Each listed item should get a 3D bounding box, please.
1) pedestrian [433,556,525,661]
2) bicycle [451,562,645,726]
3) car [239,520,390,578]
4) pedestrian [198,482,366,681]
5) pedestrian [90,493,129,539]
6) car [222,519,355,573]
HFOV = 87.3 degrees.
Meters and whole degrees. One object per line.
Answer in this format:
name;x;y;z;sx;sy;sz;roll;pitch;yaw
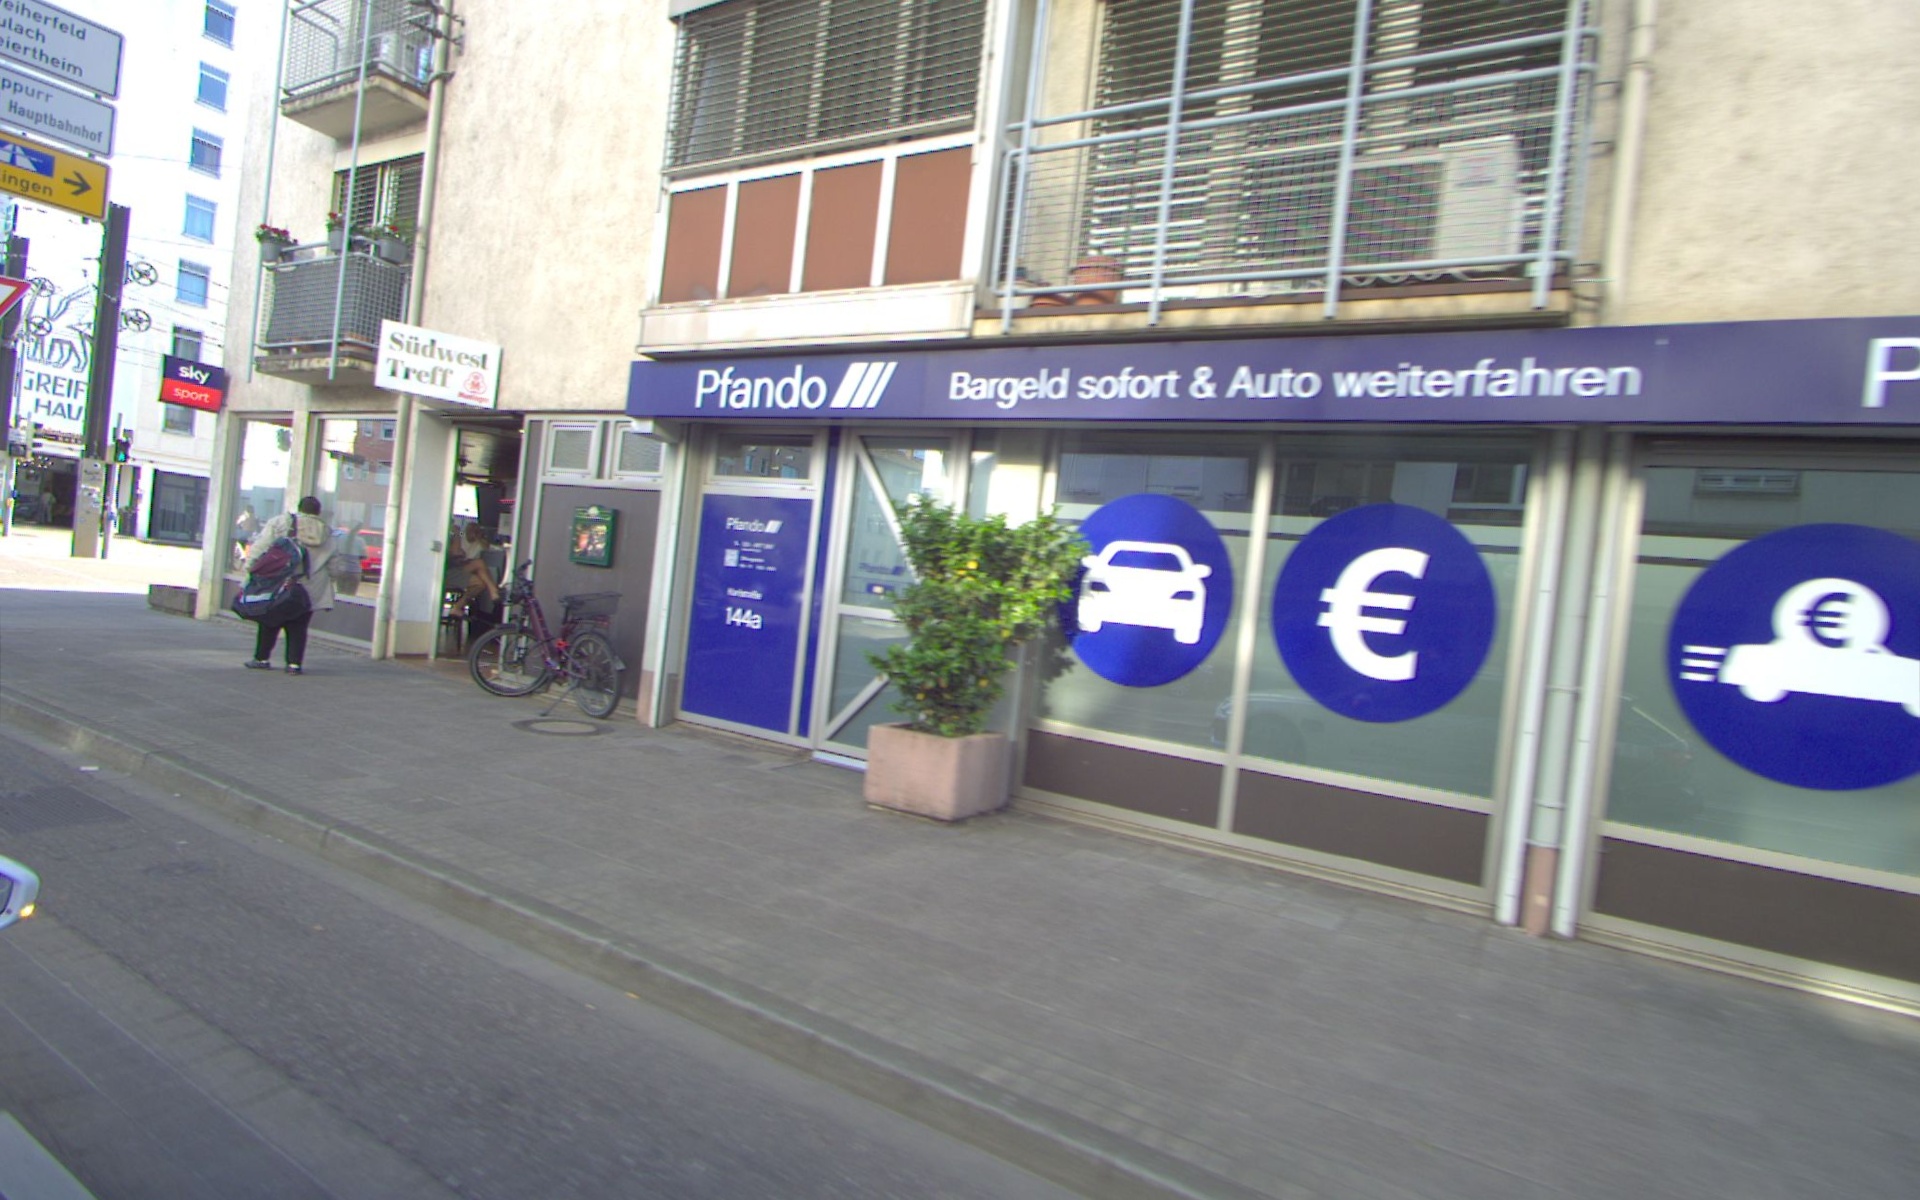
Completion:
pedestrian;-5.504;0.090;11.546;0.667;1.101;0.624;7;1;-3
bicycle;-3.510;0.344;8.511;1.748;1.176;0.497;6;0;32
car;-24.969;-1.946;39.065;1.906;1.566;4.441;6;-2;35
pedestrian;-6.003;-0.159;8.934;0.796;1.614;0.885;7;3;26
pedestrian;-35.504;-3.512;42.001;0.725;1.766;0.909;6;-2;31
car;-27.252;-2.165;40.935;1.766;1.594;4.039;6;-2;32
